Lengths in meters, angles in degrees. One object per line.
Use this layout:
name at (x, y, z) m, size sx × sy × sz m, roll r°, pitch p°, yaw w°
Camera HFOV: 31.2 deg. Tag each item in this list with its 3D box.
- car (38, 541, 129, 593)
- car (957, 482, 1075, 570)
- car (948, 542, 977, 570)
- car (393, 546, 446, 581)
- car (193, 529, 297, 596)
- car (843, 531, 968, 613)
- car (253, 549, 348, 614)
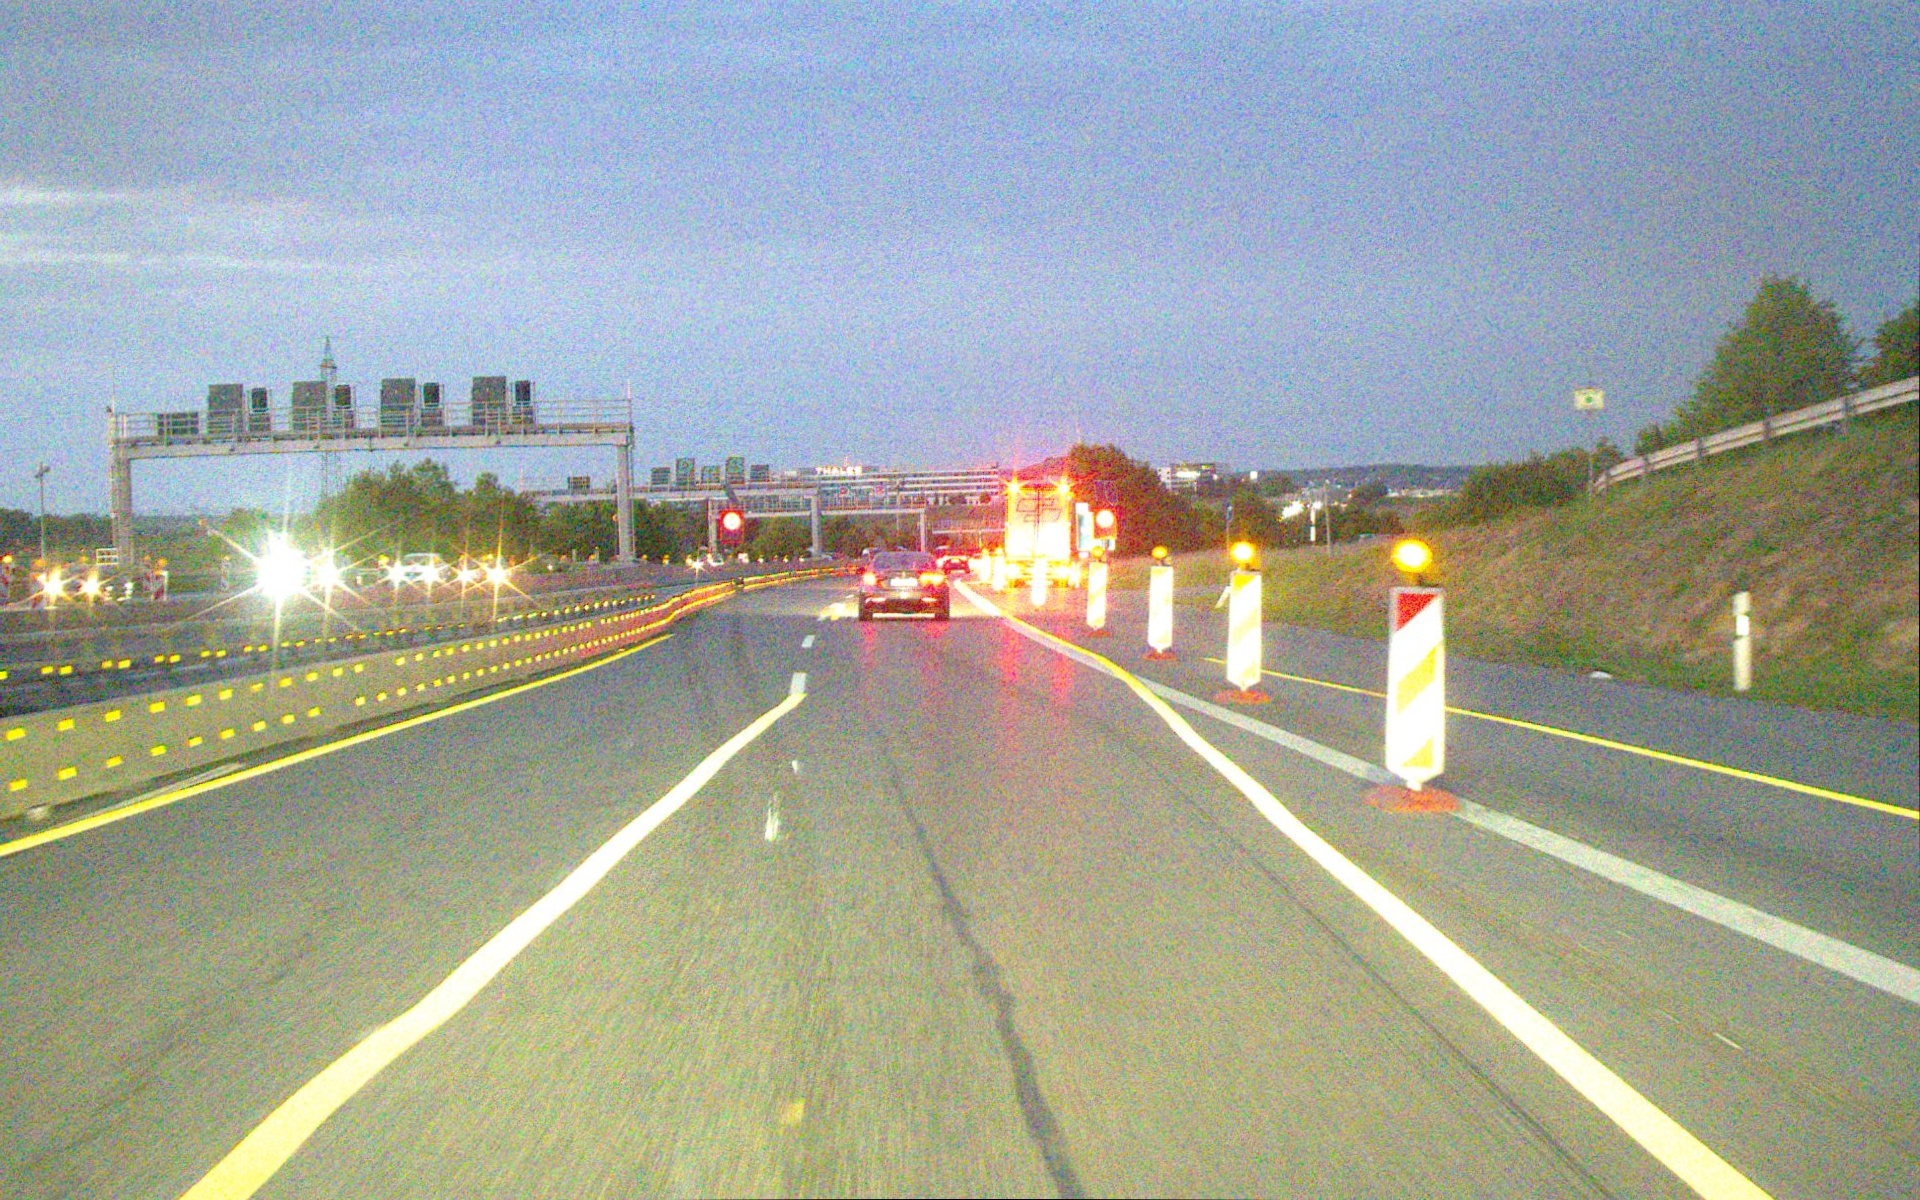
car at (-27.229, -1.030, 106.911) m, size 1.763 × 1.543 × 4.425 m, roll 1°, pitch 1°, yaw -1°
car at (2.212, -2.980, 139.776) m, size 3.604 × 3.384 × 8.016 m, roll 1°, pitch 1°, yaw -7°
car at (0.167, -3.226, 250.327) m, size 1.993 × 2.007 × 4.000 m, roll 1°, pitch 1°, yaw -1°
car at (-22.834, -1.553, 145.226) m, size 1.575 × 1.425 × 4.425 m, roll 1°, pitch 1°, yaw -1°
car at (-19.162, -1.010, 92.243) m, size 1.993 × 1.708 × 4.000 m, roll 1°, pitch 1°, yaw -1°
car at (-1.162, -0.594, 71.330) m, size 2.265 × 1.616 × 4.001 m, roll 1°, pitch 1°, yaw -5°
car at (-18.994, -0.550, 99.163) m, size 1.993 × 1.821 × 4.000 m, roll 1°, pitch 1°, yaw -1°
